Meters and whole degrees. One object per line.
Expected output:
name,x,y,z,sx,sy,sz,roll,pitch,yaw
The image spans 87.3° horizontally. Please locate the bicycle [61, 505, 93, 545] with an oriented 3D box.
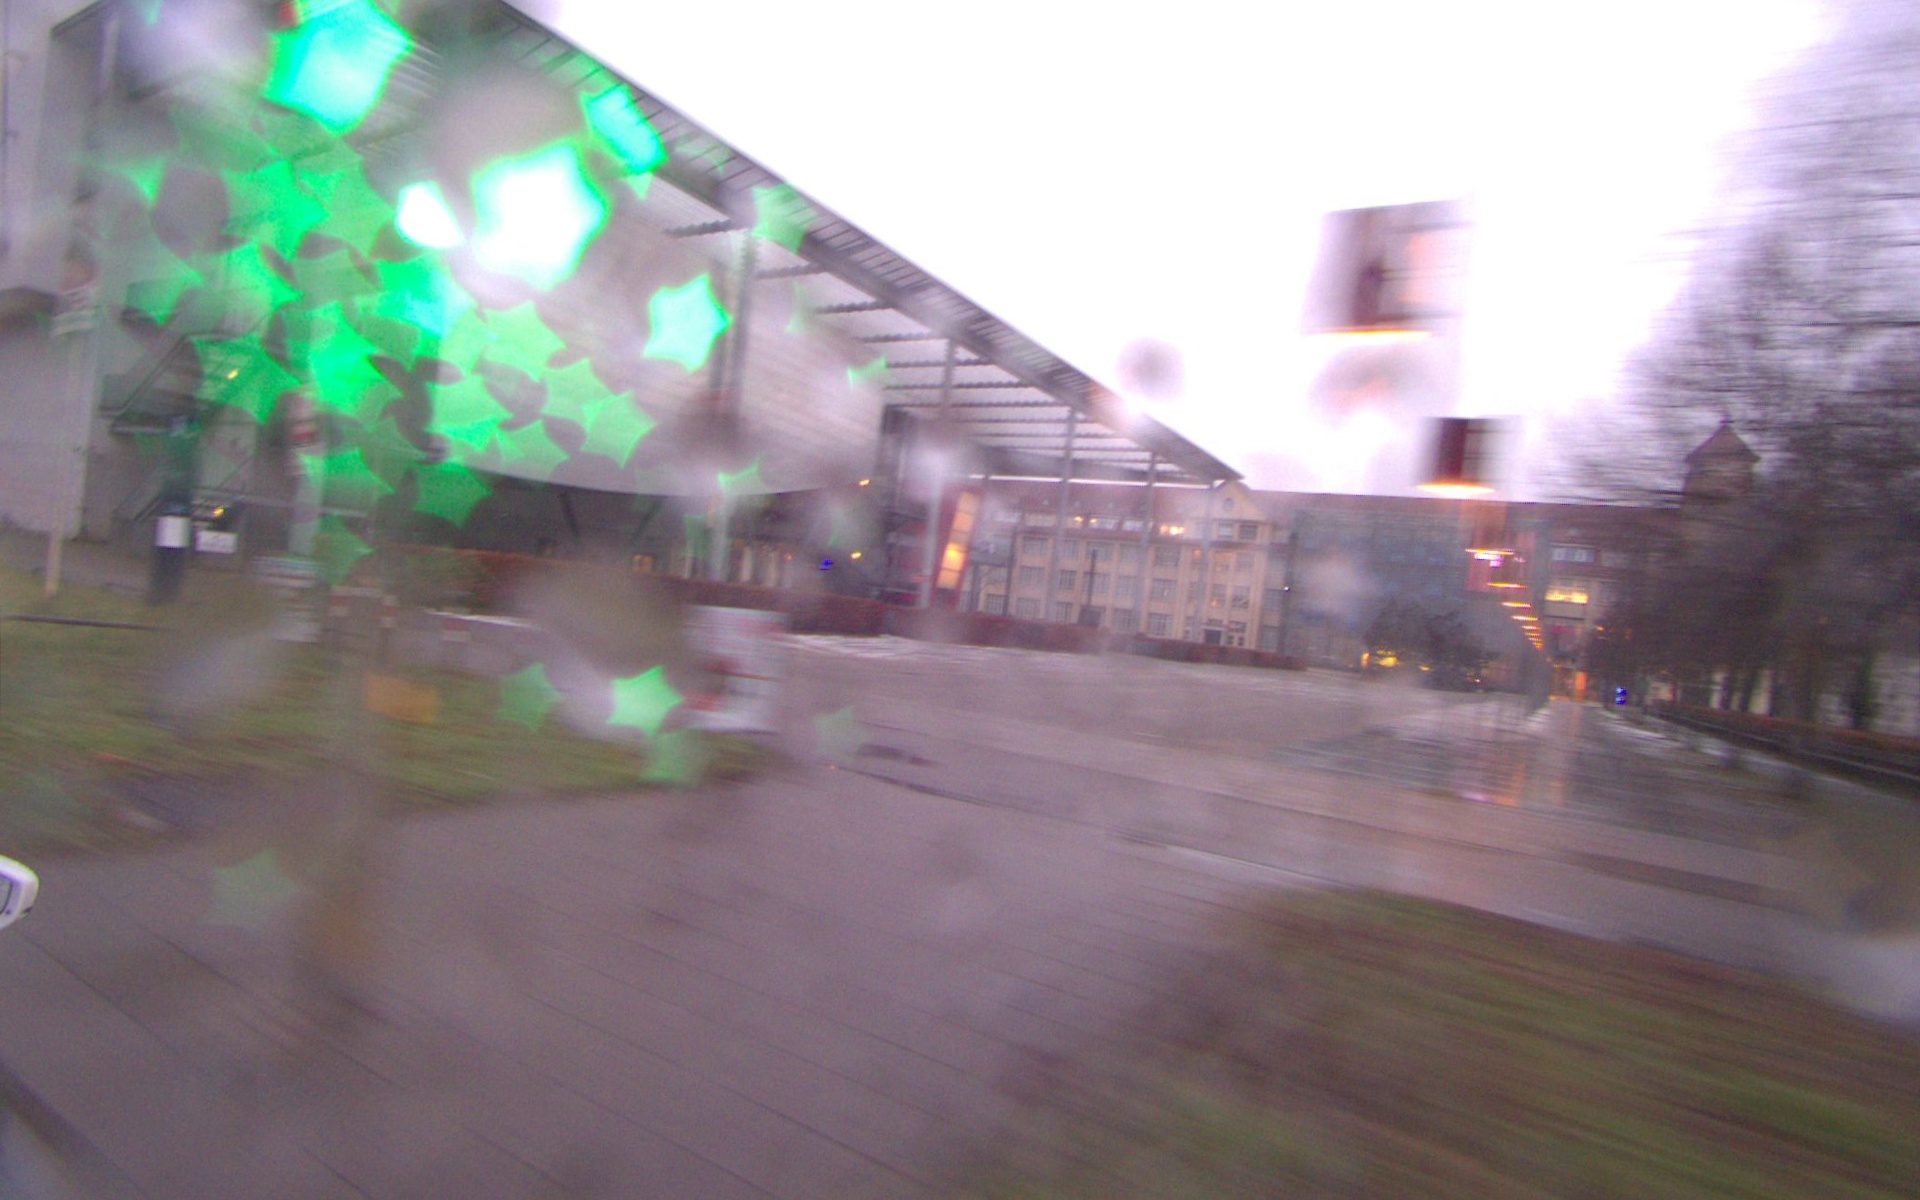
bicycle,-31.021,-2.619,35.347,0.407,1.299,1.731,8,-2,-31
